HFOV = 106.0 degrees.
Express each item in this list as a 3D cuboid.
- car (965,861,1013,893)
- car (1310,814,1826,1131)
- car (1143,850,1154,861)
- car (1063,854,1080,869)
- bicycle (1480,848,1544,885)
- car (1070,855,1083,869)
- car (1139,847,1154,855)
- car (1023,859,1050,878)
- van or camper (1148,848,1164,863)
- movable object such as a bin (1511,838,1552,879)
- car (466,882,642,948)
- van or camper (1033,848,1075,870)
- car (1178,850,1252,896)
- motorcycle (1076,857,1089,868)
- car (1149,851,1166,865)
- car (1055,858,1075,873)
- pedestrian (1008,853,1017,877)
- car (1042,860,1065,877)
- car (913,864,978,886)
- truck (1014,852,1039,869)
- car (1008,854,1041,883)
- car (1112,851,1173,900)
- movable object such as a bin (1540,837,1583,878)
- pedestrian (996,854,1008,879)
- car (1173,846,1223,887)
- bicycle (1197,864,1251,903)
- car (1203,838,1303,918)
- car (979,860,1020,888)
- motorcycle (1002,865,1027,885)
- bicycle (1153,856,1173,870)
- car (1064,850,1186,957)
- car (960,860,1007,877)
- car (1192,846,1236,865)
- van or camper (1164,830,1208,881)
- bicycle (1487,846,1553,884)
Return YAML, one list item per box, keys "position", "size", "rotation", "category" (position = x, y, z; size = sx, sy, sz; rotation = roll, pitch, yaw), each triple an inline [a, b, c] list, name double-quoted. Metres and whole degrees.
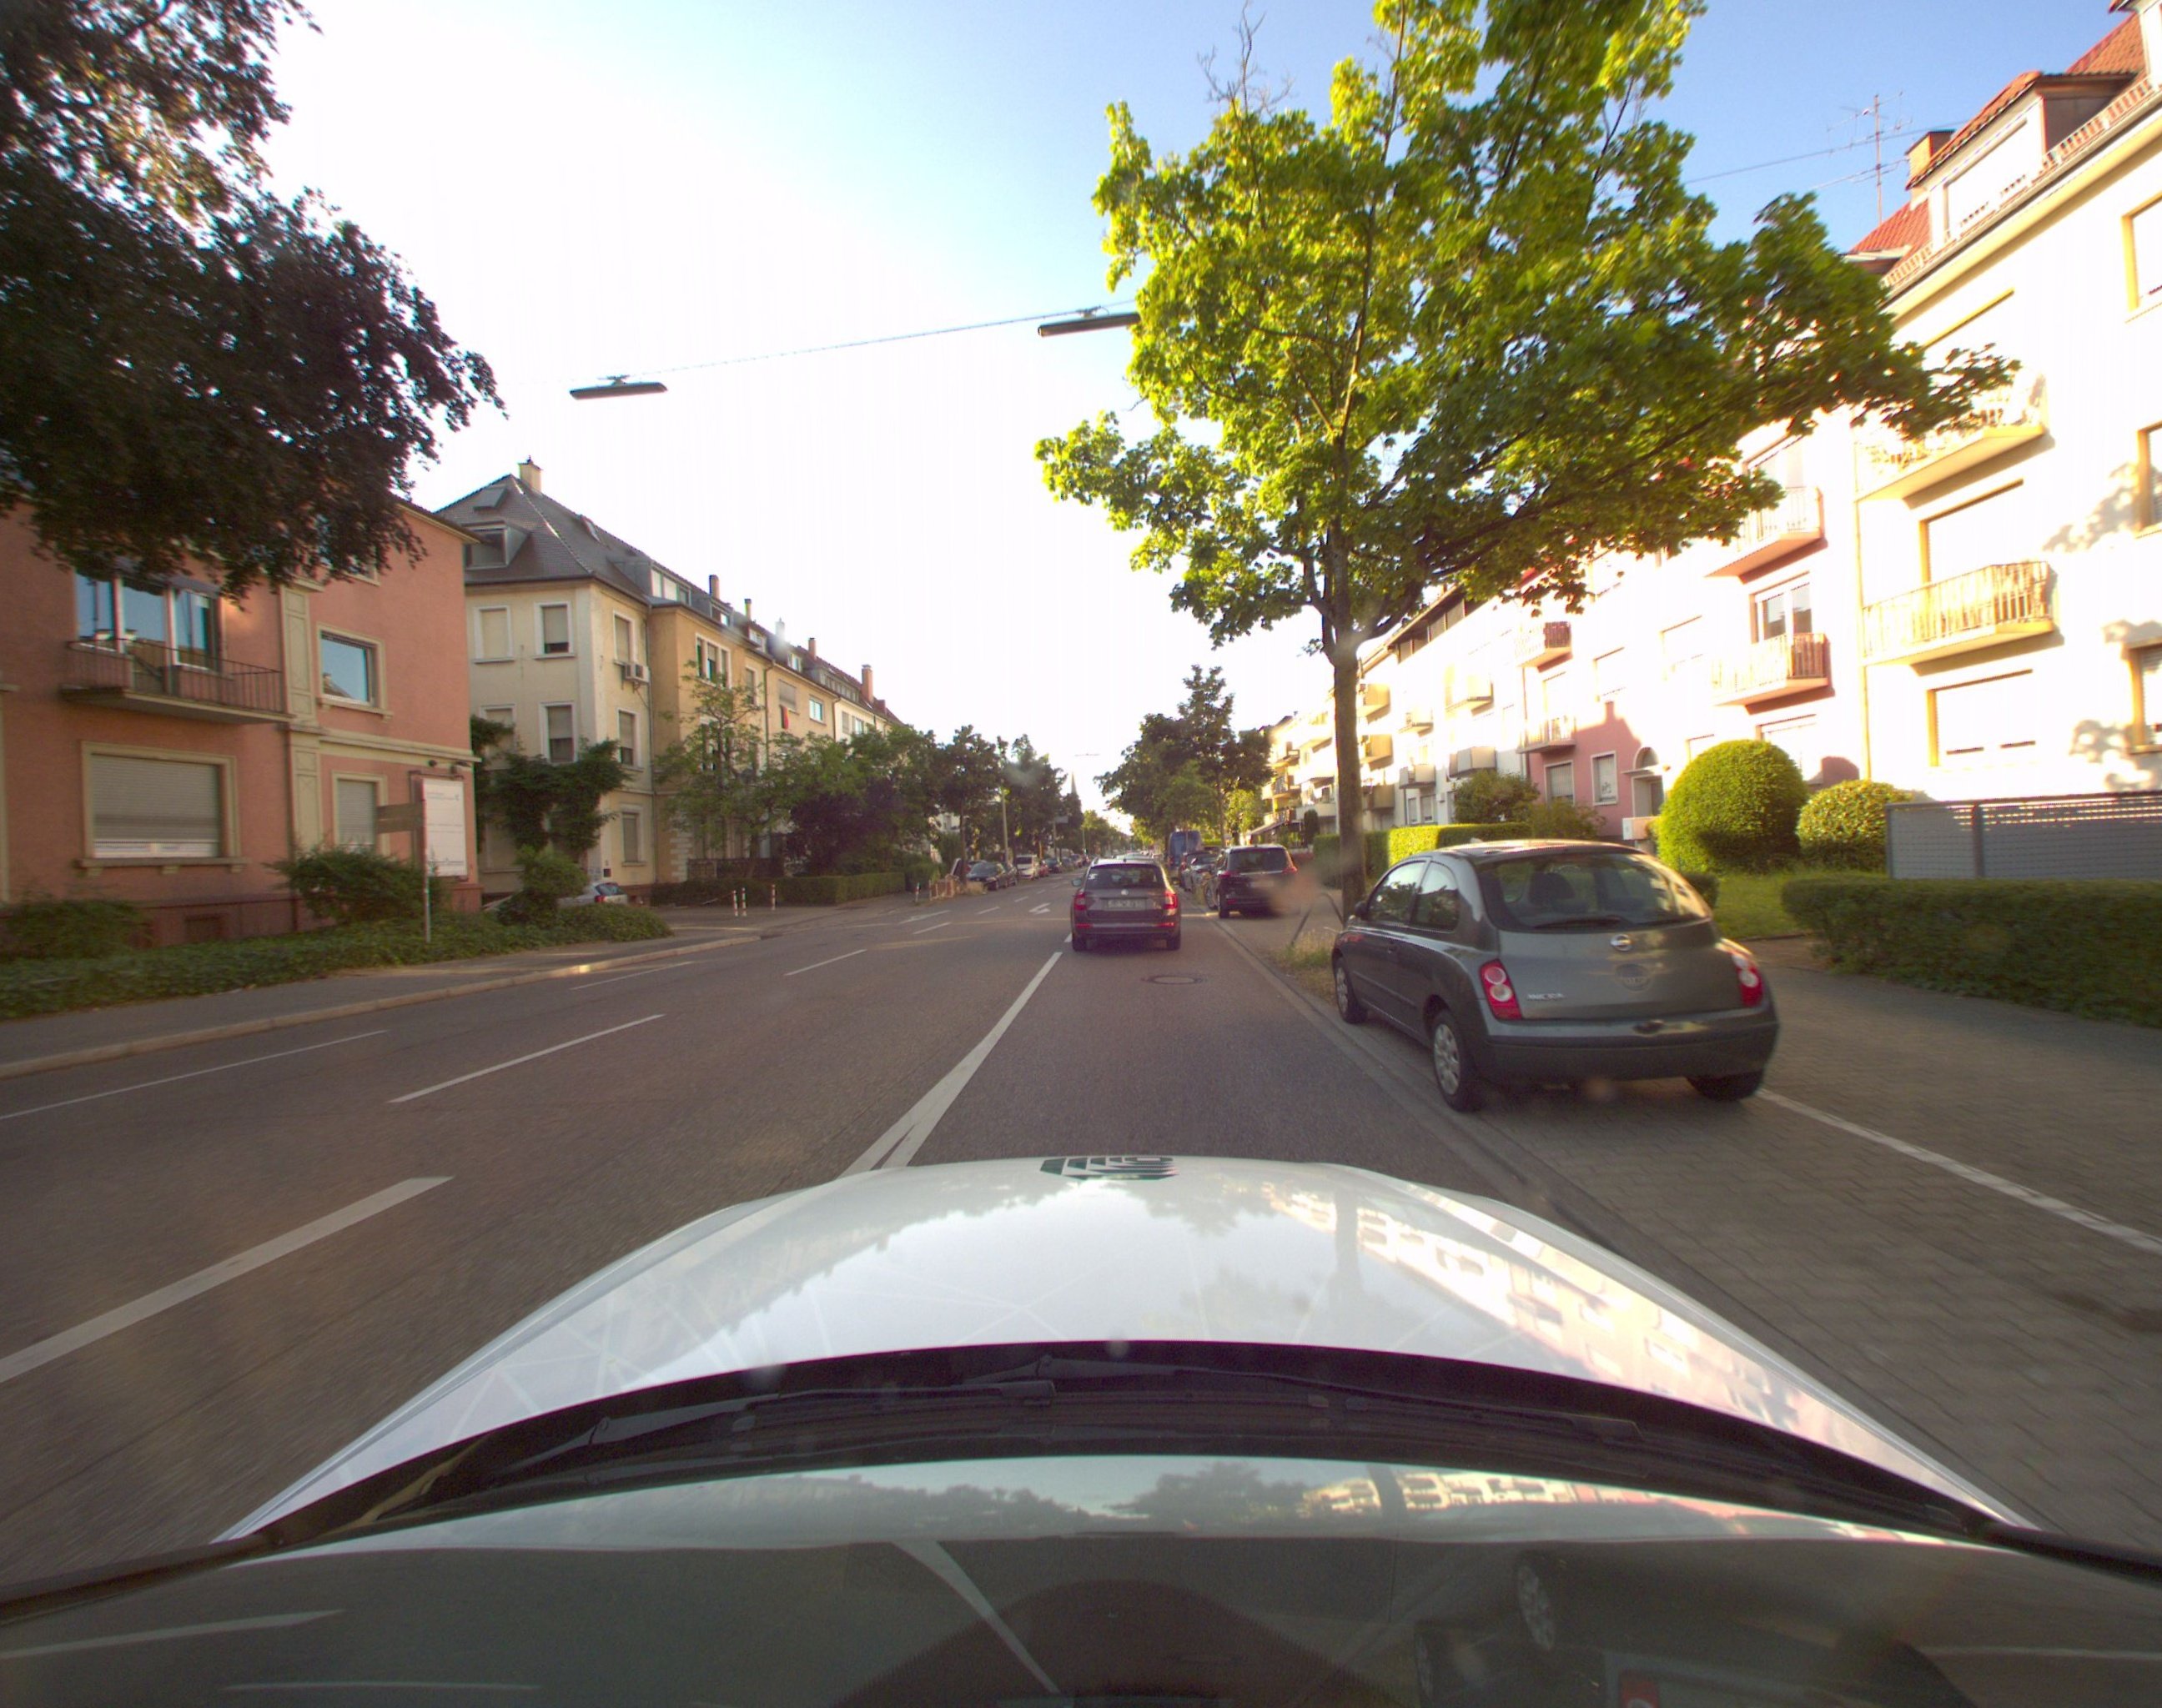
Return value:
- position: [-4.870, 1.184, 43.512]
  size: [1.742, 1.502, 4.201]
  rotation: [-2, 0, 4]
  category: "car"
- position: [2.963, 0.596, 5.944]
  size: [1.725, 1.551, 3.650]
  rotation: [-2, 0, 4]
  category: "car"
- position: [12.603, 0.254, 151.870]
  size: [1.723, 1.815, 3.953]
  rotation: [-2, 0, 2]
  category: "car"
- position: [-1.165, 0.907, 102.748]
  size: [1.742, 1.740, 3.595]
  rotation: [-2, 0, 4]
  category: "car"
- position: [10.710, 0.304, 20.248]
  size: [1.353, 0.854, 0.365]
  rotation: [-2, 0, 3]
  category: "bicycle"
- position: [-0.571, 1.056, 107.393]
  size: [1.500, 1.757, 3.697]
  rotation: [-2, 0, 4]
  category: "car"
- position: [15.802, -0.733, 195.852]
  size: [1.858, 1.757, 4.205]
  rotation: [-2, 0, 30]
  category: "car"
- position: [-3.588, 1.169, 66.408]
  size: [1.709, 1.421, 3.790]
  rotation: [-2, 0, 4]
  category: "car"
- position: [10.669, 0.191, 116.095]
  size: [1.985, 2.013, 4.004]
  rotation: [-2, 0, 4]
  category: "van or camper"
- position: [11.593, 0.111, 20.972]
  size: [0.608, 1.002, 0.797]
  rotation: [-2, 0, 3]
  category: "movable object such as a bin"
- position: [-14.187, 1.612, 22.081]
  size: [3.486, 1.486, 1.815]
  rotation: [-2, 0, -1]
  category: "car"
- position: [-5.124, 0.986, 154.298]
  size: [7.611, 3.874, 2.001]
  rotation: [-2, 0, 1]
  category: "van or camper"
- position: [4.828, 0.644, 29.995]
  size: [1.914, 1.486, 4.746]
  rotation: [-2, 0, 0]
  category: "car"
- position: [0.247, 1.195, 117.665]
  size: [0.770, 1.512, 2.007]
  rotation: [-2, 0, -39]
  category: "motorcycle"
- position: [8.700, 0.432, 92.072]
  size: [1.812, 1.413, 4.118]
  rotation: [-2, 0, 6]
  category: "car"
- position: [-1.747, 1.237, 89.562]
  size: [1.746, 1.420, 4.431]
  rotation: [-2, 0, 4]
  category: "car"
- position: [-5.955, 0.955, 71.176]
  size: [0.624, 2.013, 0.617]
  rotation: [-2, 0, 3]
  category: "pedestrian"
- position: [-2.566, 1.380, 78.013]
  size: [1.709, 1.497, 4.252]
  rotation: [-2, 0, 4]
  category: "car"
- position: [-10.135, 1.537, 61.098]
  size: [4.710, 1.362, 1.994]
  rotation: [-2, 0, -10]
  category: "car"
- position: [-7.017, 0.811, 104.529]
  size: [2.901, 2.093, 1.547]
  rotation: [-2, 0, 3]
  category: "truck"
- position: [-4.047, 1.013, 59.084]
  size: [1.762, 1.919, 4.464]
  rotation: [-2, 0, 4]
  category: "car"
- position: [2.013, 0.674, 27.704]
  size: [1.724, 1.493, 3.950]
  rotation: [-2, 0, 0]
  category: "car"
- position: [12.353, 0.080, 20.951]
  size: [0.608, 1.002, 0.797]
  rotation: [-2, 0, 3]
  category: "movable object such as a bin"
- position: [-6.475, 1.045, 66.815]
  size: [0.764, 2.013, 0.977]
  rotation: [-2, 0, 3]
  category: "pedestrian"
- position: [5.131, 0.545, 36.112]
  size: [1.766, 1.642, 3.759]
  rotation: [-2, -1, 2]
  category: "car"
- position: [4.187, 0.866, 23.851]
  size: [1.476, 1.059, 0.410]
  rotation: [-2, 0, -10]
  category: "bicycle"
- position: [4.012, 0.506, 19.649]
  size: [1.725, 1.651, 4.296]
  rotation: [-2, 0, 4]
  category: "car"
- position: [-4.815, 1.158, 48.443]
  size: [1.742, 1.502, 3.983]
  rotation: [-2, 0, 4]
  category: "car"
- position: [-4.228, 1.354, 51.967]
  size: [0.436, 1.192, 1.718]
  rotation: [-2, 0, 41]
  category: "motorcycle"
- position: [7.680, 0.853, 76.501]
  size: [1.658, 1.226, 0.638]
  rotation: [-5, 0, 16]
  category: "bicycle"
- position: [0.831, 0.719, 13.919]
  size: [1.721, 1.493, 3.957]
  rotation: [-2, 0, 5]
  category: "car"
- position: [-8.997, 1.333, 75.402]
  size: [3.974, 1.479, 2.000]
  rotation: [-1, 0, 0]
  category: "car"
- position: [14.968, 0.144, 91.842]
  size: [4.554, 1.892, 1.899]
  rotation: [-2, 0, -24]
  category: "car"
- position: [5.931, 0.115, 46.631]
  size: [2.058, 2.675, 5.996]
  rotation: [-2, -1, 4]
  category: "van or camper"
- position: [10.667, 0.268, 19.793]
  size: [1.363, 0.854, 0.369]
  rotation: [-2, 0, 4]
  category: "bicycle"
